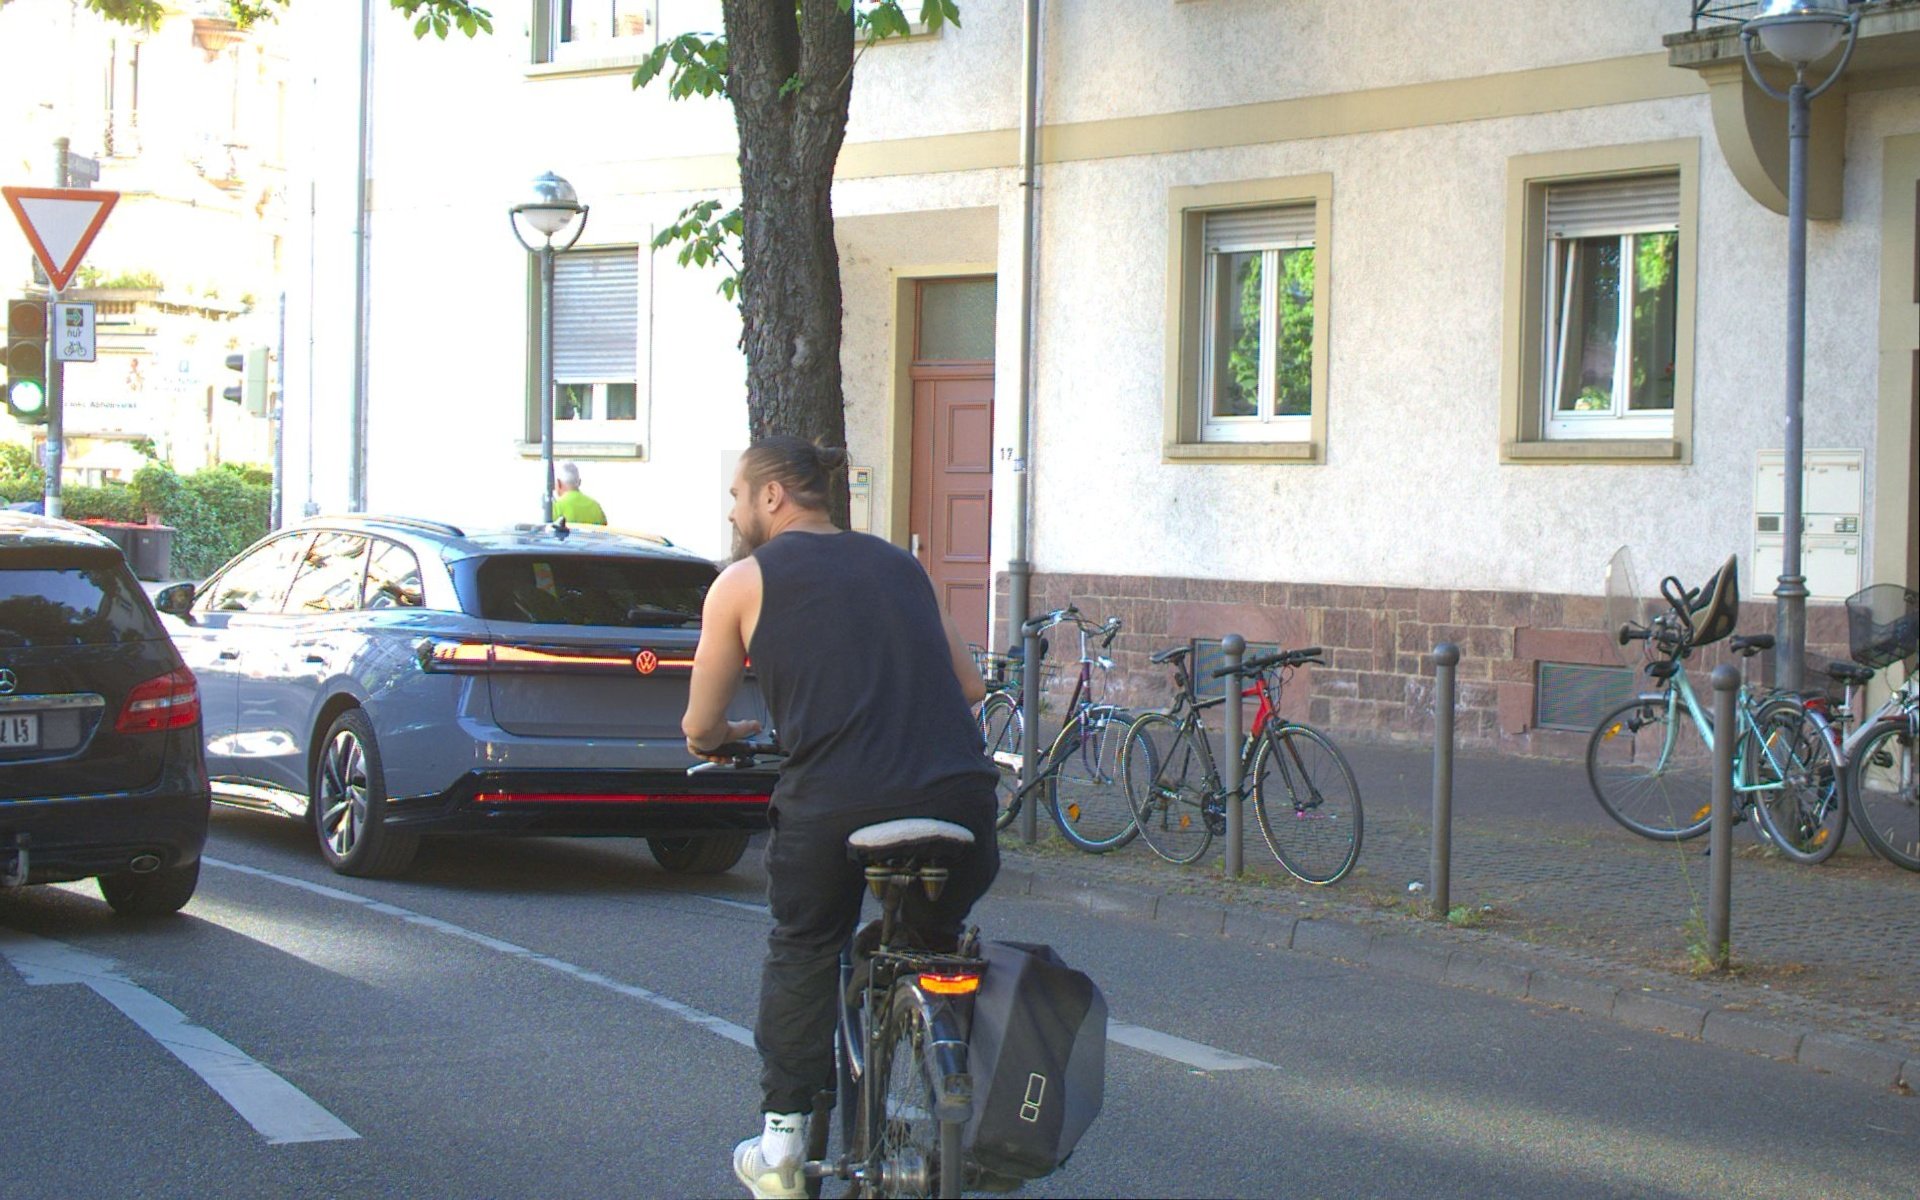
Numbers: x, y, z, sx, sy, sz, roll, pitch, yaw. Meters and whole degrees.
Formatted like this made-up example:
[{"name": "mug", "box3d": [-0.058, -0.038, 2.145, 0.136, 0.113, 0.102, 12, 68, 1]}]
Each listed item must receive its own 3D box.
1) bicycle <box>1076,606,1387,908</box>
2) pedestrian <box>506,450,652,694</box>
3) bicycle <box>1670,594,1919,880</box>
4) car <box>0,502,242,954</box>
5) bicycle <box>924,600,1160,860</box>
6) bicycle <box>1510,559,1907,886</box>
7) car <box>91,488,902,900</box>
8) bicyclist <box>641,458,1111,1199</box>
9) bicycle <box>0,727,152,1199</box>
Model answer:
[{"name": "bicycle", "box3d": [1.107, 0.620, 14.409, 0.526, 1.103, 1.741, -2, 3, -24]}, {"name": "pedestrian", "box3d": [-2.765, -0.218, 24.913, 0.643, 1.721, 0.888, -3, 3, -39]}, {"name": "bicycle", "box3d": [3.907, 0.561, 14.902, 0.667, 1.103, 1.967, 1, 1, -19]}, {"name": "car", "box3d": [-4.388, 0.396, 13.393, 1.790, 1.536, 3.860, -2, 2, -34]}, {"name": "bicycle", "box3d": [0.360, 0.575, 16.002, 0.480, 1.060, 1.636, -2, 3, -22]}, {"name": "bicycle", "box3d": [3.195, 0.480, 14.884, 0.717, 1.273, 1.967, -1, 2, -21]}, {"name": "car", "box3d": [-2.300, 0.348, 15.842, 1.970, 1.580, 4.475, 3, 0, -32]}, {"name": "bicyclist", "box3d": [-0.190, 0.558, 6.653, 0.686, 1.650, 0.990, 0, 2, -15]}, {"name": "bicycle", "box3d": [-2.415, 0.777, 6.670, 0.717, 1.103, 1.966, 1, 2, -44]}]
